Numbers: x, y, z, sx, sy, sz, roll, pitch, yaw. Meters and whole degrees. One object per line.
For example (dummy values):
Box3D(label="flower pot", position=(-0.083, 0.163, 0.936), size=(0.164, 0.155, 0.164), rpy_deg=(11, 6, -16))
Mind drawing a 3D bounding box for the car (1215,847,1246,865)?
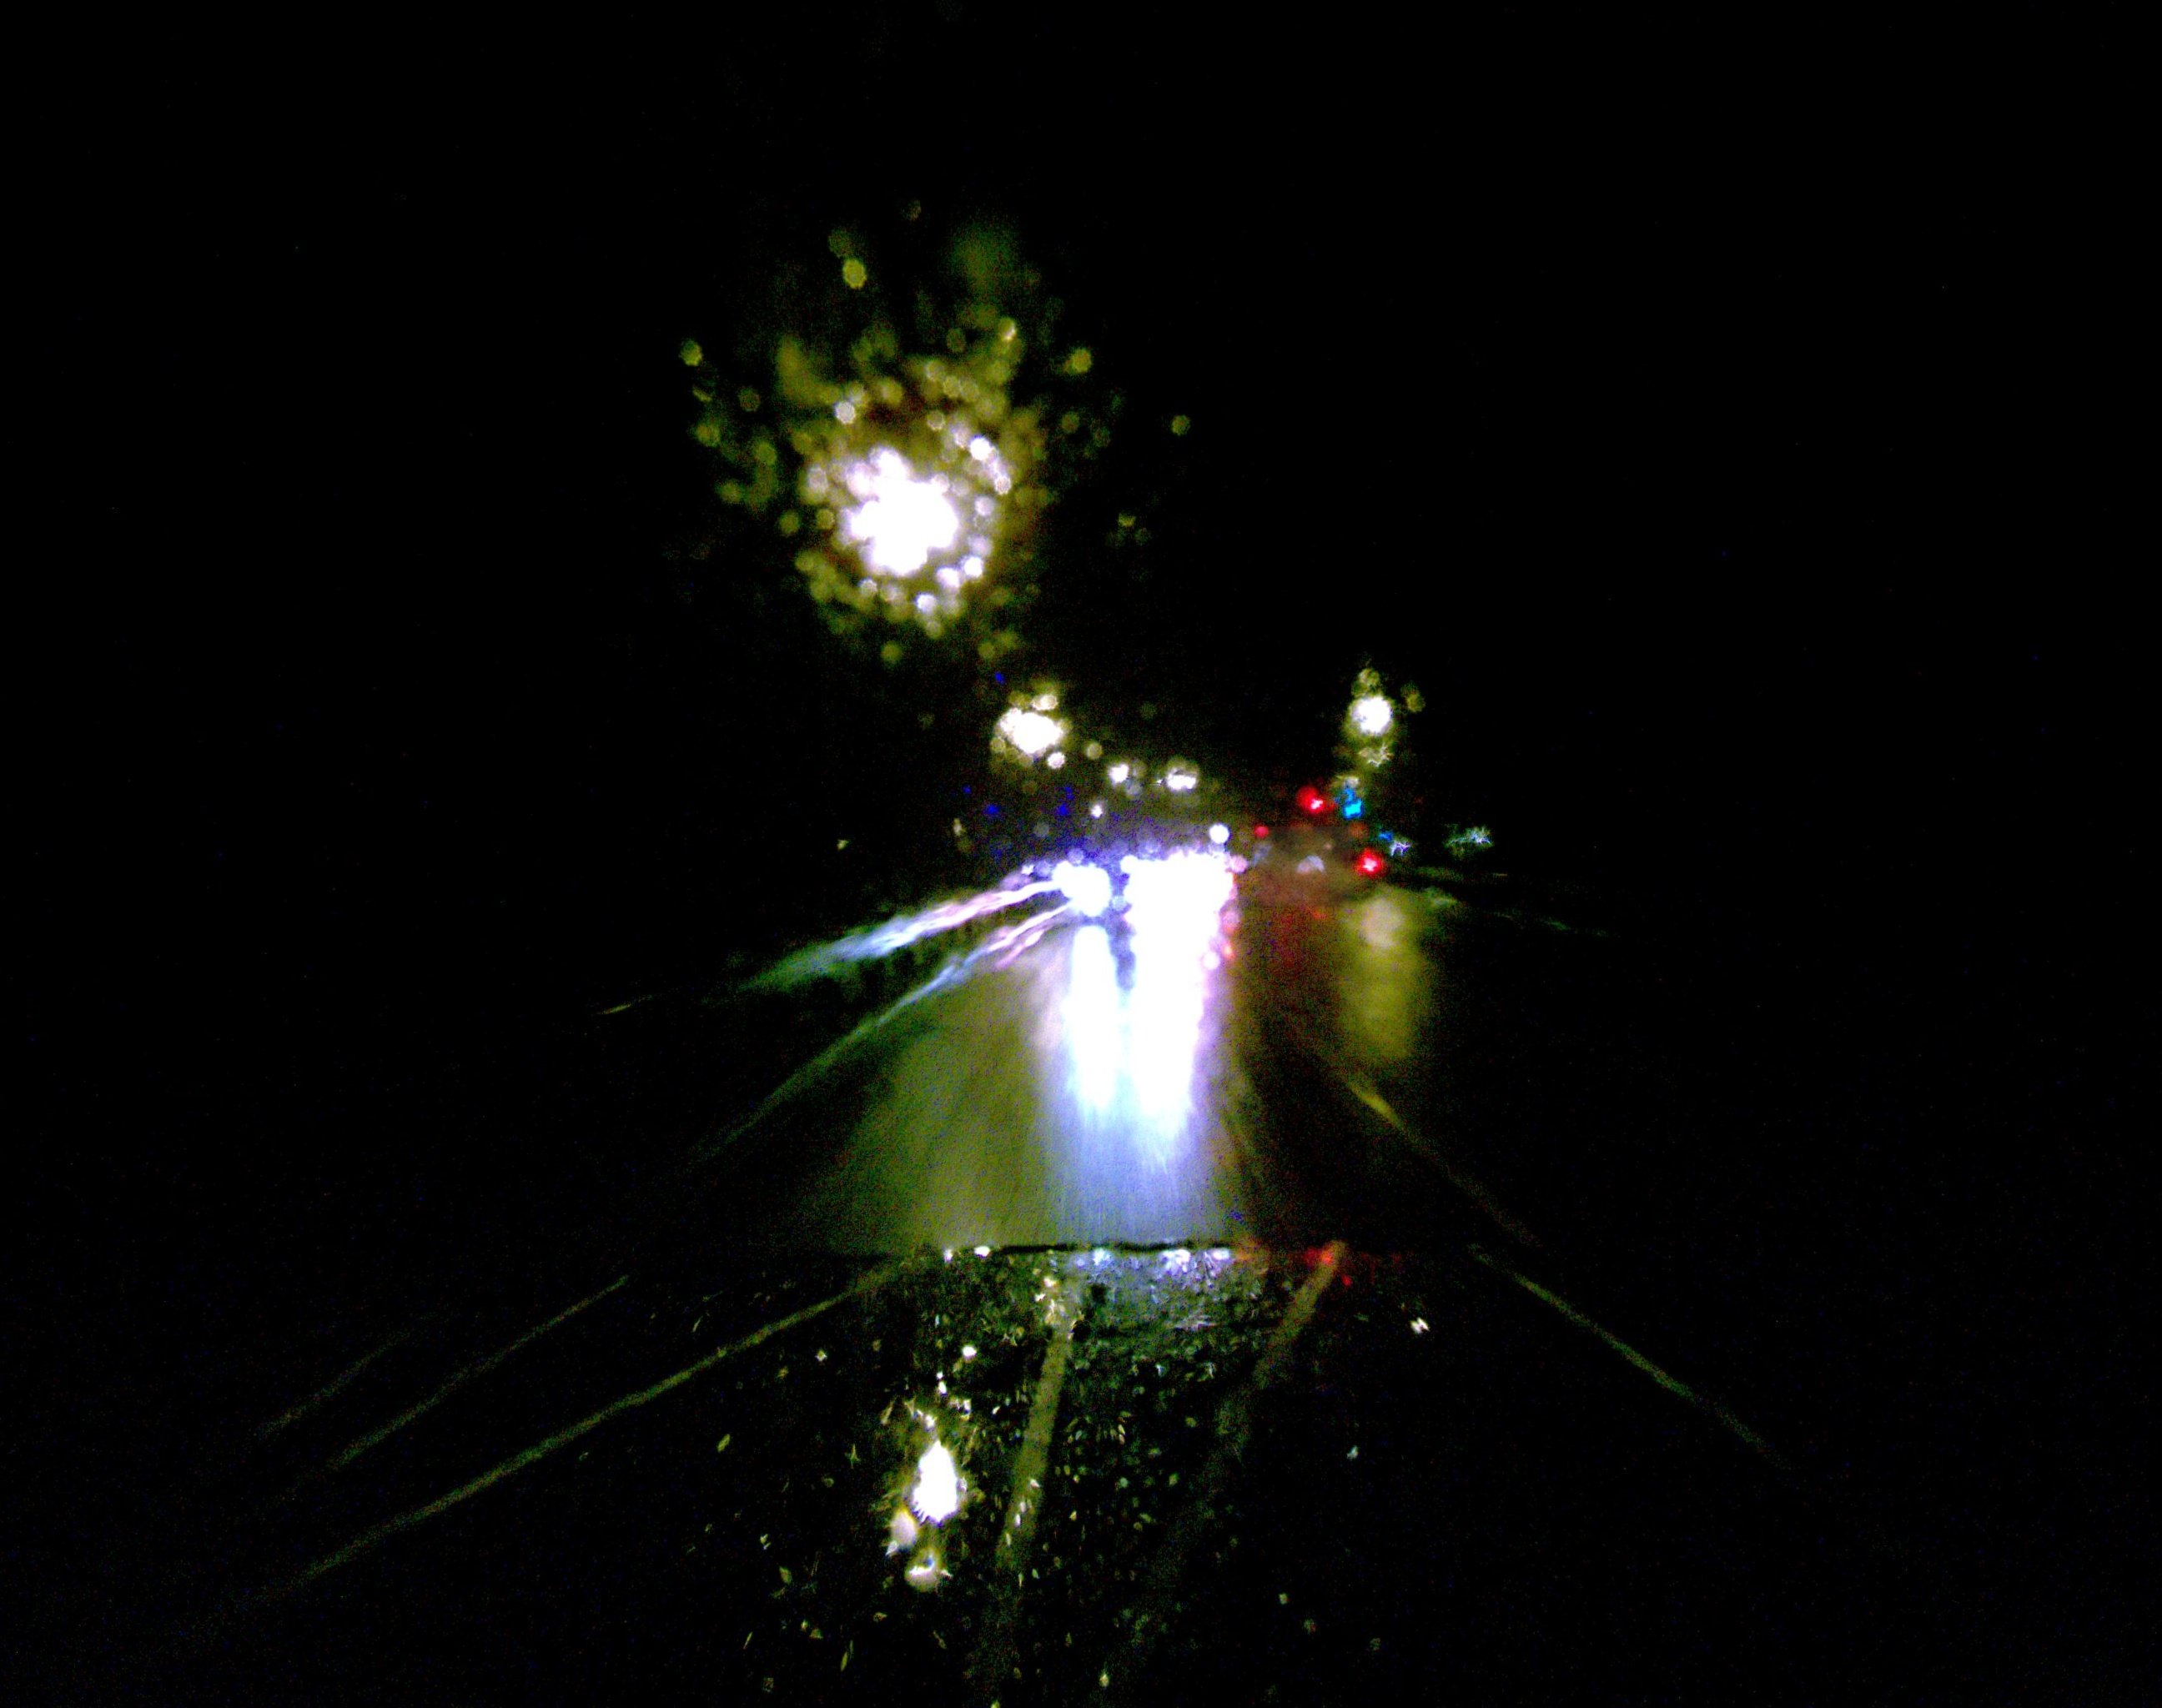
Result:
Box3D(label="car", position=(18.130, 0.250, 91.903), size=(1.865, 2.002, 4.008), rpy_deg=(-2, 0, 41))

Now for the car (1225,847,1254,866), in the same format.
Box3D(label="car", position=(17.278, 0.256, 82.722), size=(1.865, 2.002, 4.007), rpy_deg=(-2, 0, 29))

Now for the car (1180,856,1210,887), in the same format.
Box3D(label="car", position=(7.082, 1.044, 46.921), size=(1.304, 1.520, 3.048), rpy_deg=(-9, 0, 15))

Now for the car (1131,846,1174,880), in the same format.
Box3D(label="car", position=(3.968, 0.447, 41.622), size=(2.045, 1.611, 4.289), rpy_deg=(-3, 1, 8))

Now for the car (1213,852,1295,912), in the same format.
Box3D(label="car", position=(4.699, 0.702, 21.142), size=(1.899, 1.431, 4.065), rpy_deg=(-1, 0, 8))

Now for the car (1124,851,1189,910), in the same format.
Box3D(label="car", position=(2.856, 0.912, 27.998), size=(1.997, 2.002, 4.003), rpy_deg=(0, 0, 11))

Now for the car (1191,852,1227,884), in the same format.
Box3D(label="car", position=(10.598, 1.134, 62.686), size=(1.996, 2.002, 4.003), rpy_deg=(-8, 2, 20))

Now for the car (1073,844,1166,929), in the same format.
Box3D(label="car", position=(1.034, 0.661, 17.972), size=(1.926, 1.705, 4.239), rpy_deg=(-1, 2, 6))

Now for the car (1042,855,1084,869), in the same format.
Box3D(label="car", position=(-2.179, 0.953, 90.384), size=(4.769, 1.630, 2.004), rpy_deg=(-1, 1, 41))

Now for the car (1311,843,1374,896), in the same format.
Box3D(label="car", position=(8.508, 0.494, 24.942), size=(1.473, 1.575, 3.193), rpy_deg=(-2, 0, 10))

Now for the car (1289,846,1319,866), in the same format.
Box3D(label="car", position=(20.305, 0.160, 69.145), size=(2.001, 1.665, 4.624), rpy_deg=(-2, 0, 24))

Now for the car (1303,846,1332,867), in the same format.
Box3D(label="car", position=(16.904, 0.164, 54.228), size=(1.768, 1.419, 4.224), rpy_deg=(0, 1, 20))

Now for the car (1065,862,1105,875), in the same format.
Box3D(label="car", position=(0.445, 1.770, 91.872), size=(4.533, 1.400, 2.004), rpy_deg=(-1, 1, 41))
